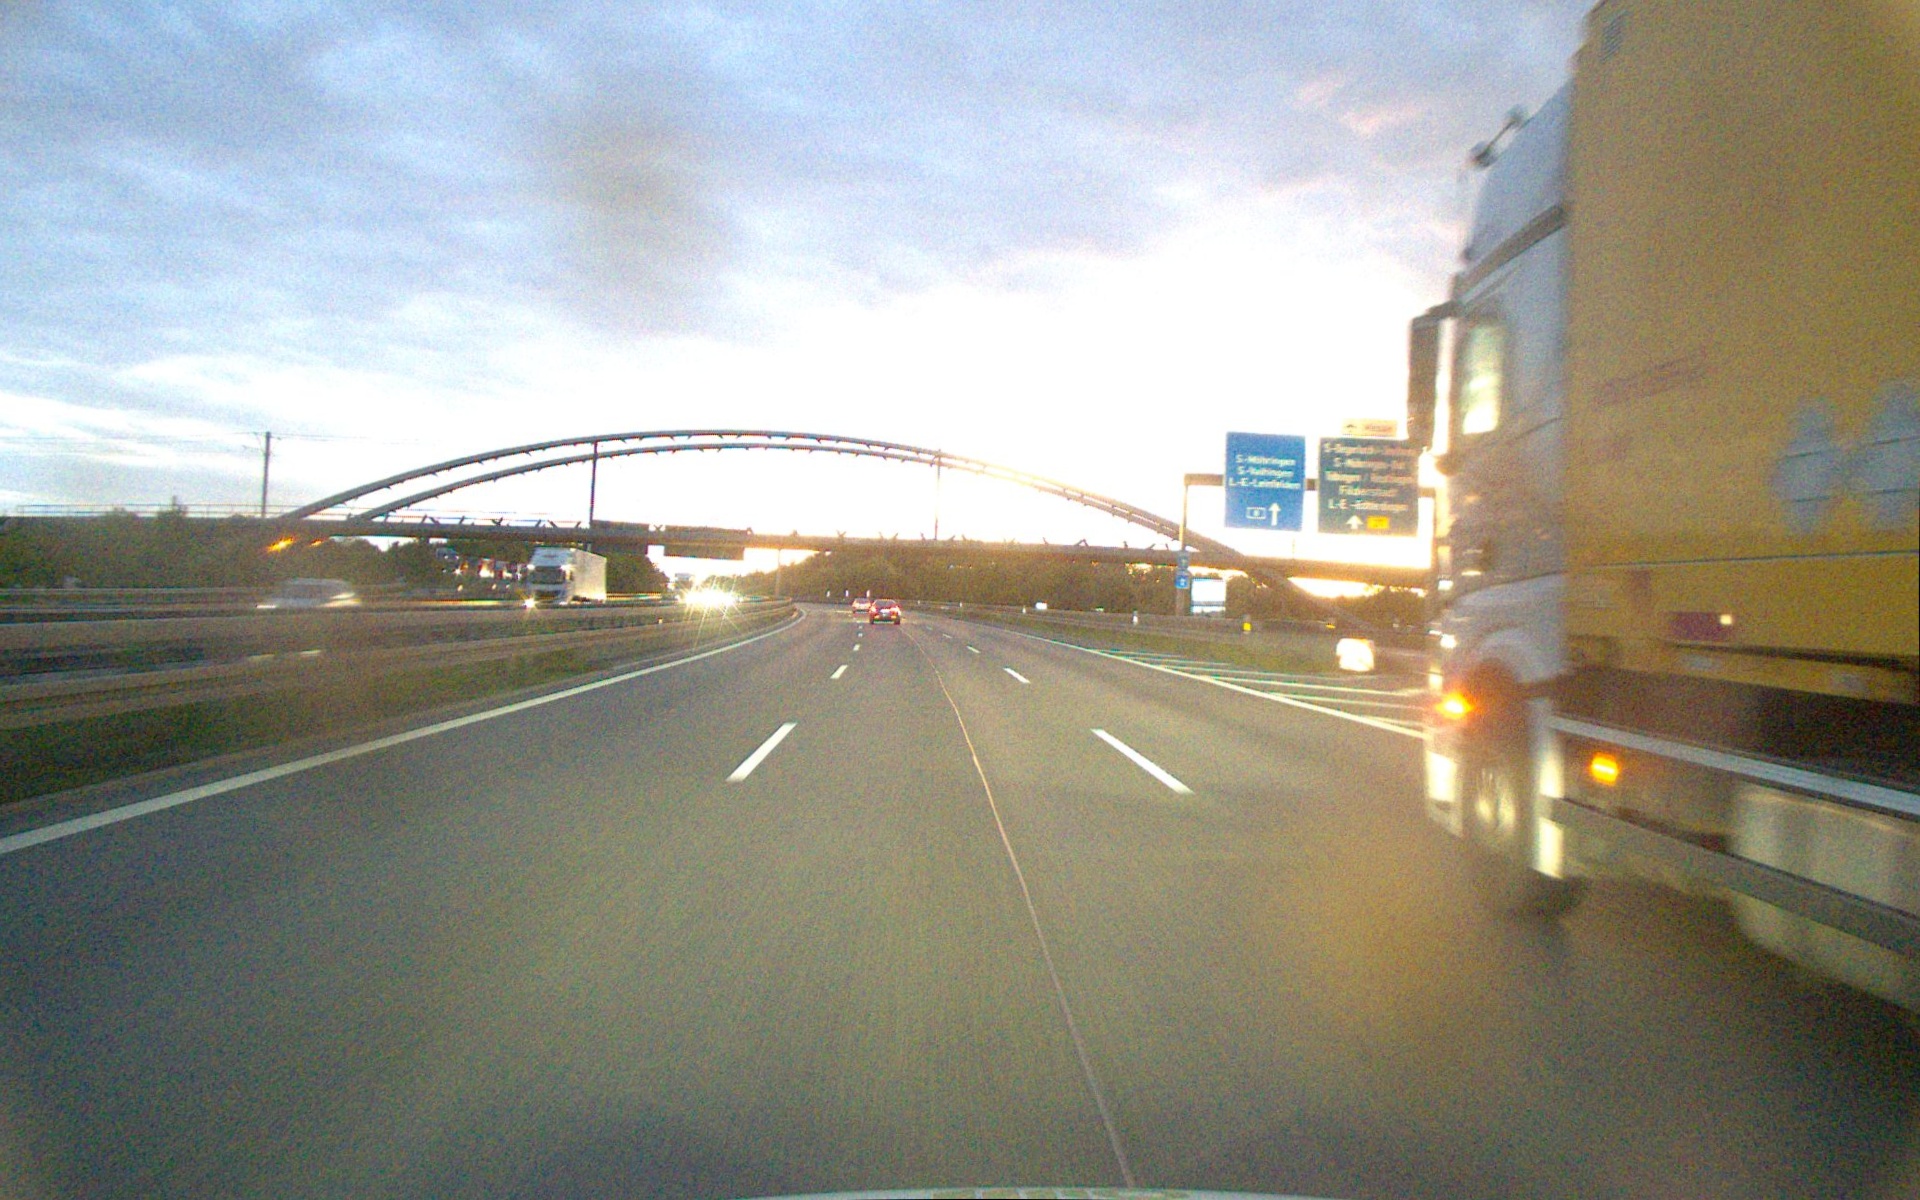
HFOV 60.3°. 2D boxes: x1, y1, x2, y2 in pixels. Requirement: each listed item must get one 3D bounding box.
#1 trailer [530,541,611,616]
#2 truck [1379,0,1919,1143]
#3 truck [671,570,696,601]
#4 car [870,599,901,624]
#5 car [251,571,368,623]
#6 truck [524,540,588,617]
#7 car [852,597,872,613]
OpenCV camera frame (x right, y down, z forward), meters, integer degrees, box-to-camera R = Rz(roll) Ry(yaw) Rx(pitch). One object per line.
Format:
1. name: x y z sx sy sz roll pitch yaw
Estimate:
1. trailer: -25.437 -1.348 108.784 2.769 4.586 14.616 1 0 -4
2. truck: 3.983 -0.557 4.920 2.635 4.142 10.518 1 0 -1
3. truck: -38.308 -2.002 229.437 2.771 4.119 12.197 1 0 -7
4. car: -4.517 0.686 100.003 1.656 1.426 3.404 1 -1 -5
5. car: -21.573 -0.101 55.105 1.953 1.653 4.843 1 0 0
6. truck: -25.007 -1.292 102.666 2.769 4.586 6.240 1 0 -4
7. car: -9.502 0.519 160.994 1.654 1.426 3.409 0 -2 2
